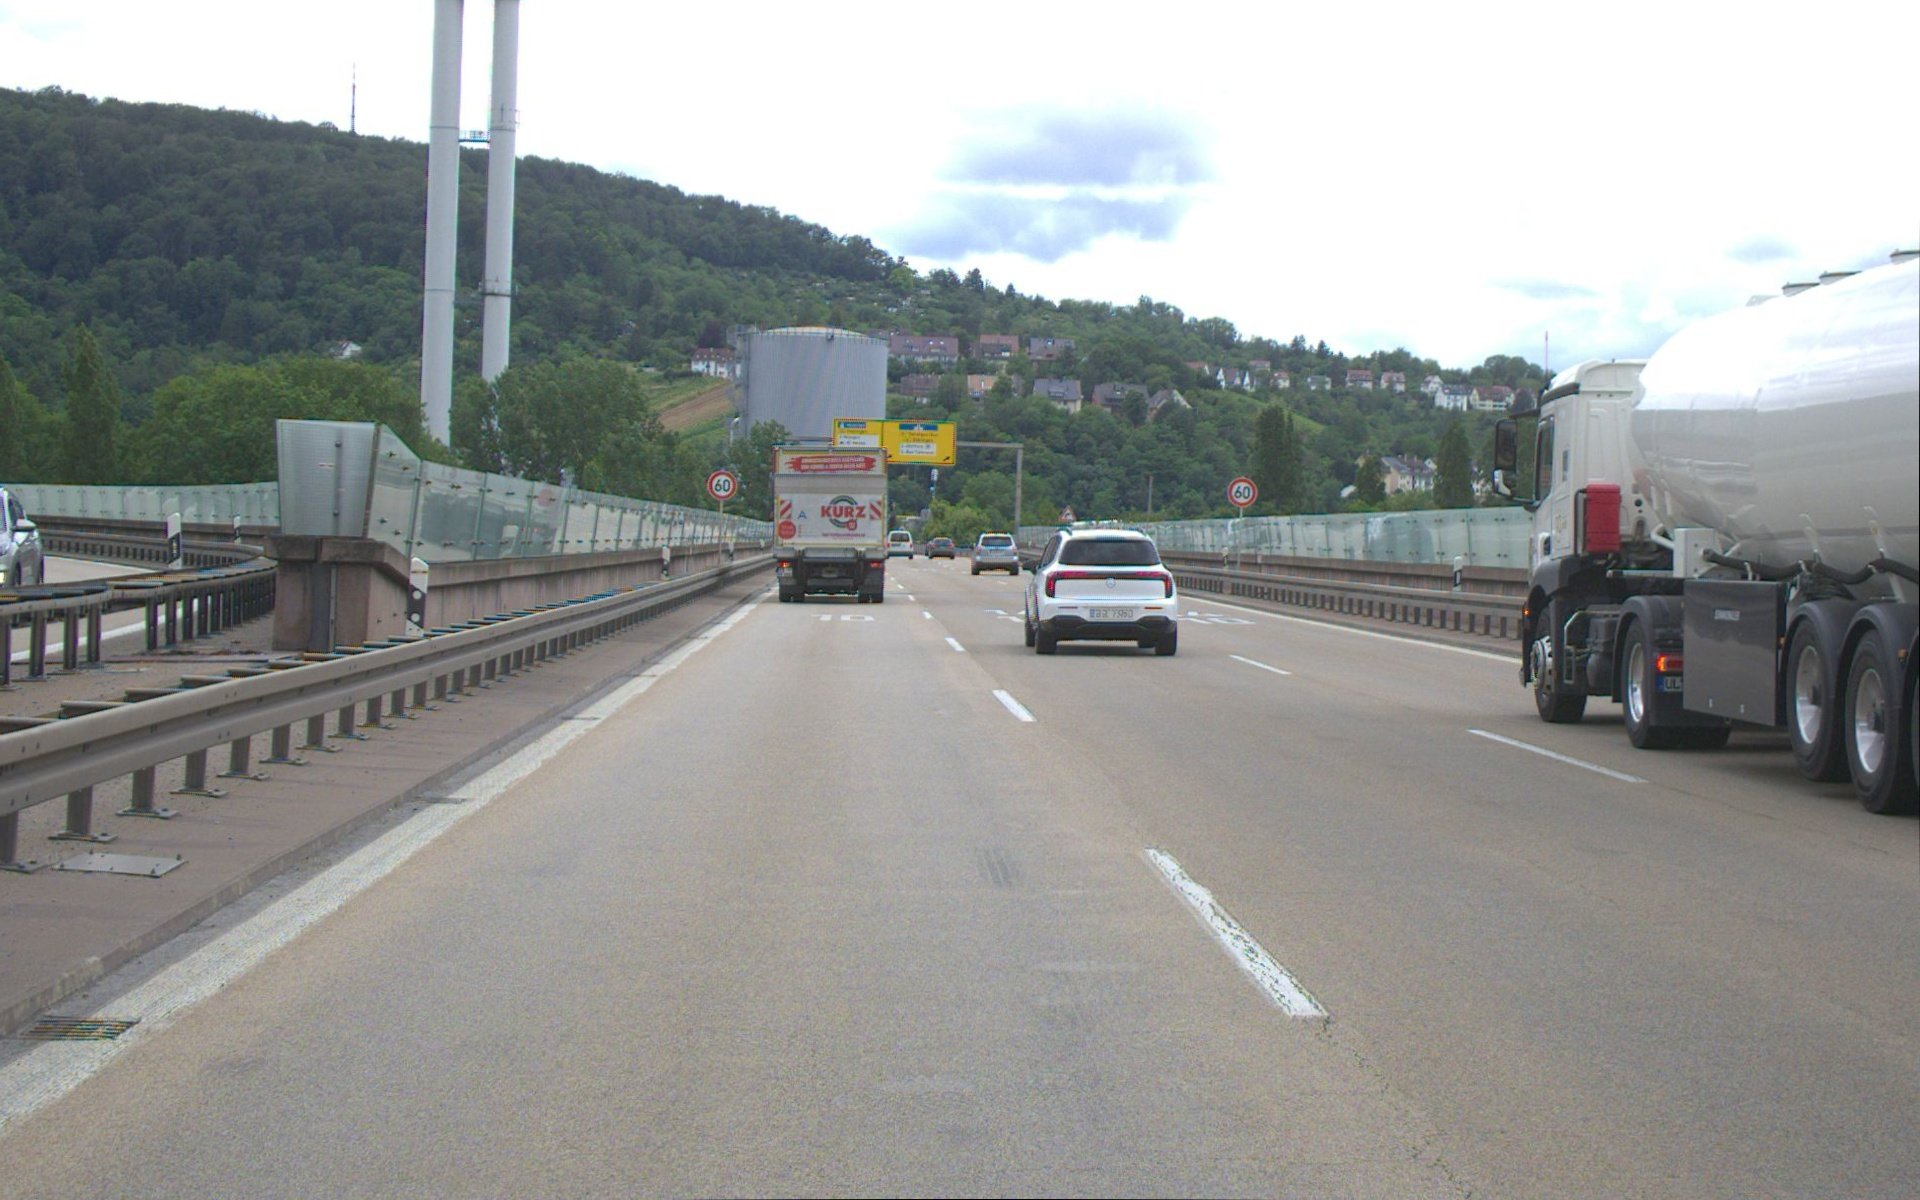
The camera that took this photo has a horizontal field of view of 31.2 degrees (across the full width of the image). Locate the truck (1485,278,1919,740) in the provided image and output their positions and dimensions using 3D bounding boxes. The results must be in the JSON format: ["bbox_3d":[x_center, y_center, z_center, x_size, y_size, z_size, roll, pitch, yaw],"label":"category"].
[{"bbox_3d":[6.176,-0.738,28.834,2.630,3.502,4.904,1,1,-1],"label":"truck"}]

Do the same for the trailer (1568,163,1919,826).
[{"bbox_3d":[6.346,-0.604,21.869,2.650,3.531,11.221,1,1,-1],"label":"trailer"}]

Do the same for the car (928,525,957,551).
[{"bbox_3d":[-1.204,-4.345,240.213,1.924,1.779,4.113,1,1,-1],"label":"car"}]

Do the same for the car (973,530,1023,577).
[{"bbox_3d":[1.550,-1.889,138.530,1.924,1.779,4.113,1,1,1],"label":"car"}]

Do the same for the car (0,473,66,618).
[{"bbox_3d":[-12.070,-0.691,41.494,1.844,1.667,4.409,1,1,-6],"label":"car"}]

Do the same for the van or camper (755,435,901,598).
[{"bbox_3d":[-3.014,-1.917,80.689,3.122,3.567,8.550,1,1,-1],"label":"van or camper"}]

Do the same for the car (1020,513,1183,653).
[{"bbox_3d":[1.870,-0.269,46.602,1.924,1.779,4.113,1,1,-1],"label":"car"}]
